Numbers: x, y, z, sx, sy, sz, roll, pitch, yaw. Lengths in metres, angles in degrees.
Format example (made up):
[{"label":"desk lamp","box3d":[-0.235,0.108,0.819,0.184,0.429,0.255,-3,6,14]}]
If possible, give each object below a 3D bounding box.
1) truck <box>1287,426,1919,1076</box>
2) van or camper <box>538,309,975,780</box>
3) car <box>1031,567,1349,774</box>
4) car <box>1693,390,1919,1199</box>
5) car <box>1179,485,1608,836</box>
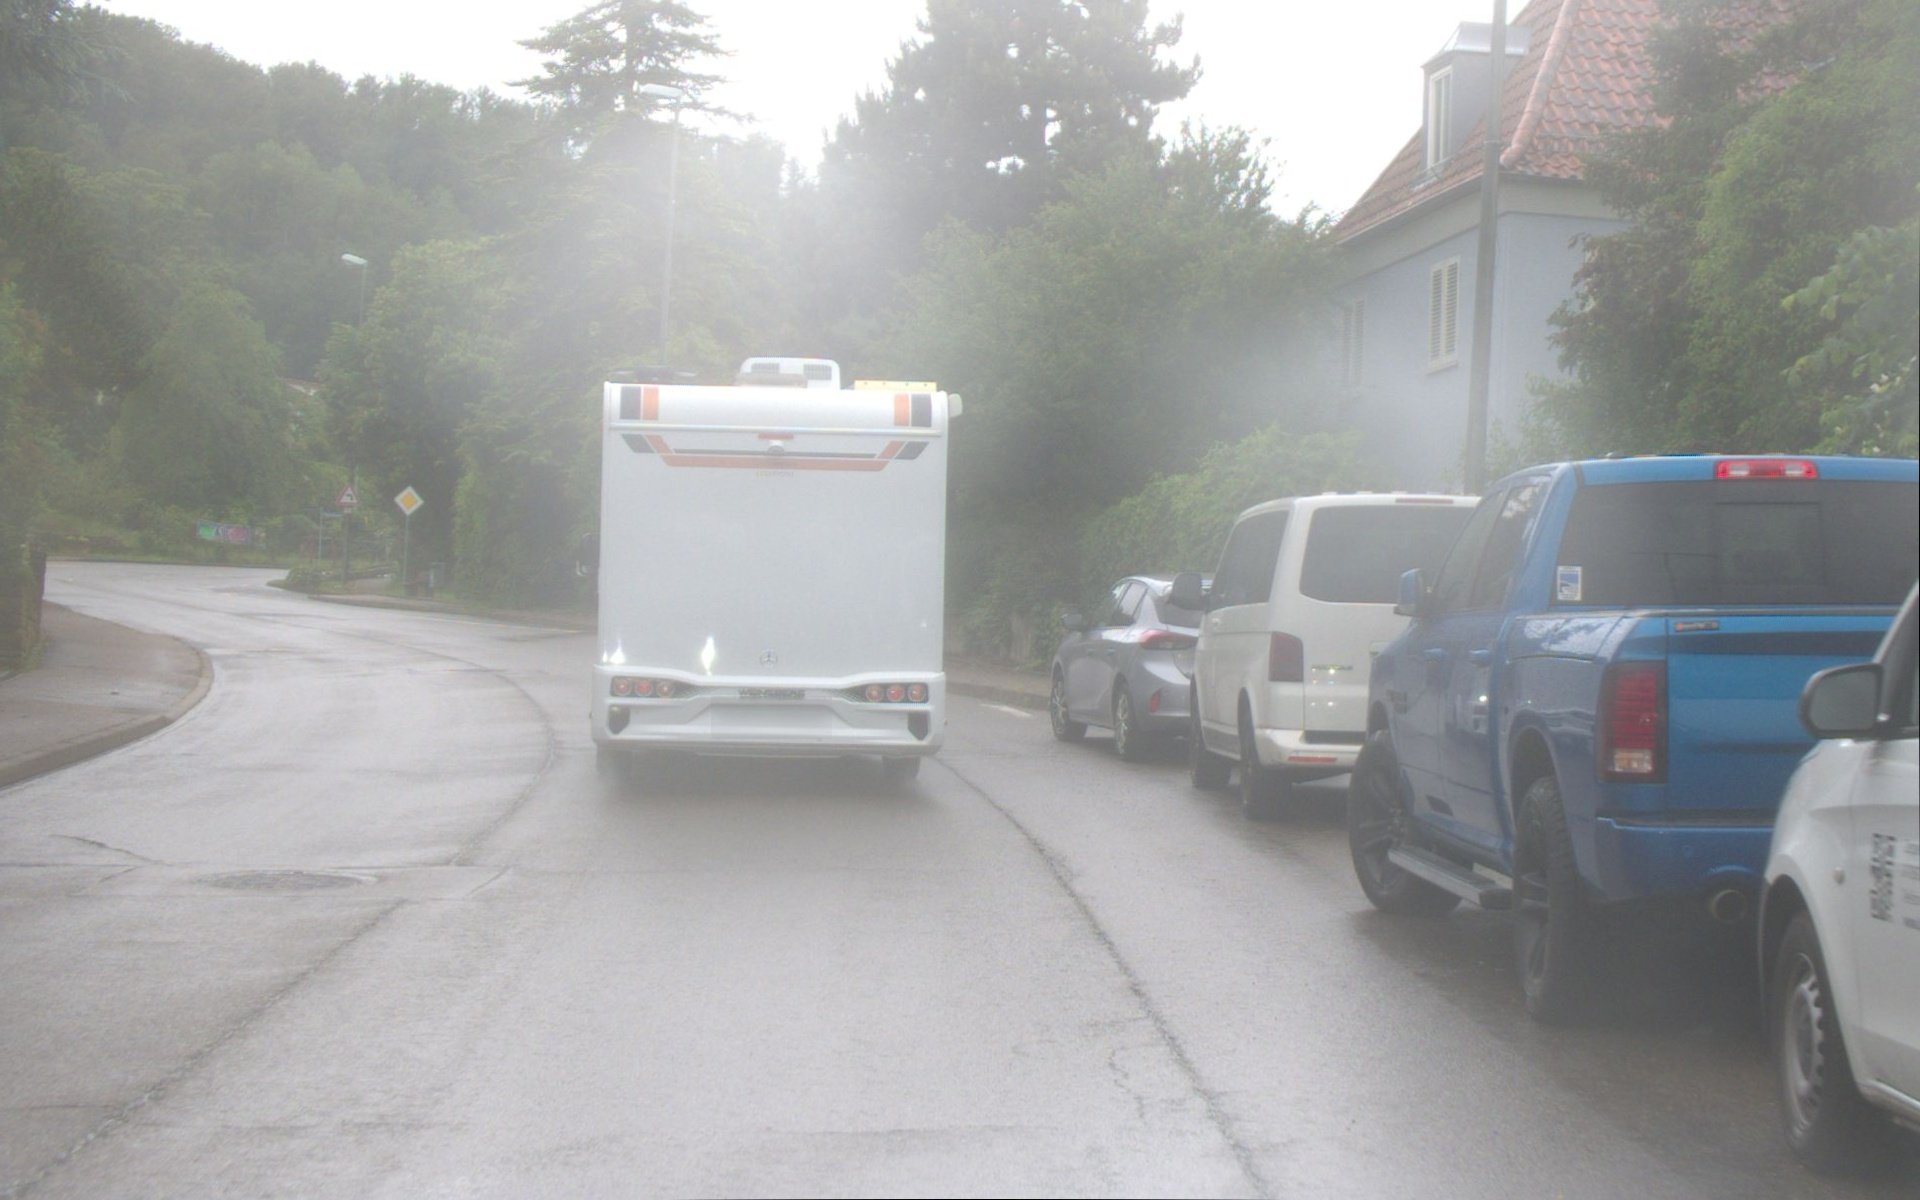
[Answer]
[{"label":"truck","box3d":[2.802,0.420,13.331,2.113,1.845,6.619,3,1,-2]},{"label":"van or camper","box3d":[-1.447,-0.310,24.546,2.615,2.843,6.031,2,-1,-3]},{"label":"car","box3d":[1.769,0.514,27.747,1.685,1.452,4.059,2,1,-9]},{"label":"car","box3d":[2.993,0.473,6.973,1.827,1.836,5.270,0,1,-1]},{"label":"car","box3d":[2.605,0.300,21.909,1.860,1.914,5.080,2,1,-2]}]
